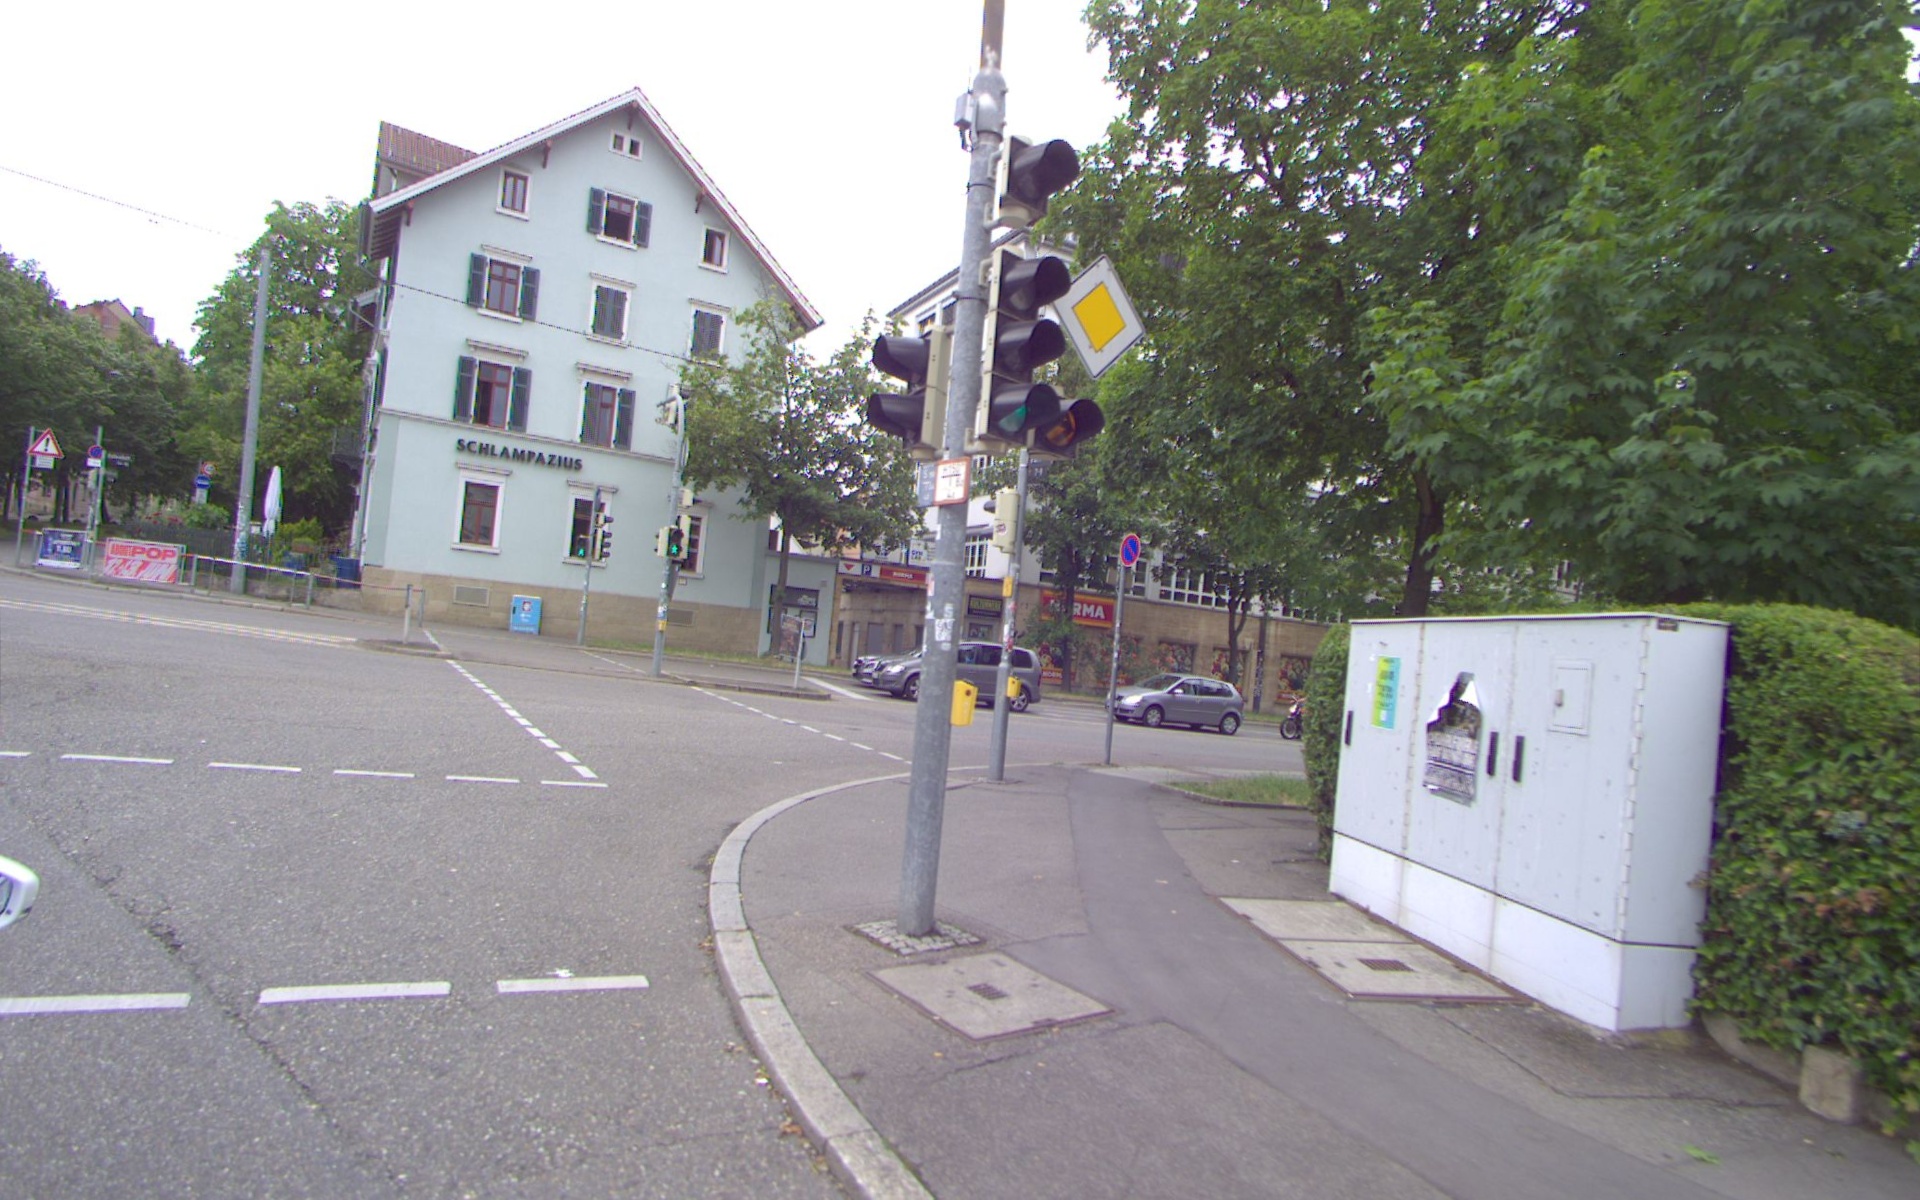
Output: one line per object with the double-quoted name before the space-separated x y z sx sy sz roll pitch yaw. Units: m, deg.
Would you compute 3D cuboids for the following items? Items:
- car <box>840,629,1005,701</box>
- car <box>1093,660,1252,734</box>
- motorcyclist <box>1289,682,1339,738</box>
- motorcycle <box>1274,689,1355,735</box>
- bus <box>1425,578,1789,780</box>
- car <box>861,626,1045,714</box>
"car" -1.048 1.809 27.909 4.141 1.440 1.703 8 -2 -20
"car" 5.664 2.586 26.831 3.739 1.438 1.658 8 -2 -20
"motorcyclist" 10.126 3.142 28.793 0.998 1.434 0.705 8 -1 -26
"motorcycle" 10.173 3.215 28.823 2.370 0.998 0.634 9 -2 -27
"bus" 27.915 3.559 42.786 17.668 6.481 4.520 9 -2 -28
"car" -0.179 1.733 25.074 4.141 1.657 1.704 8 -3 -20
